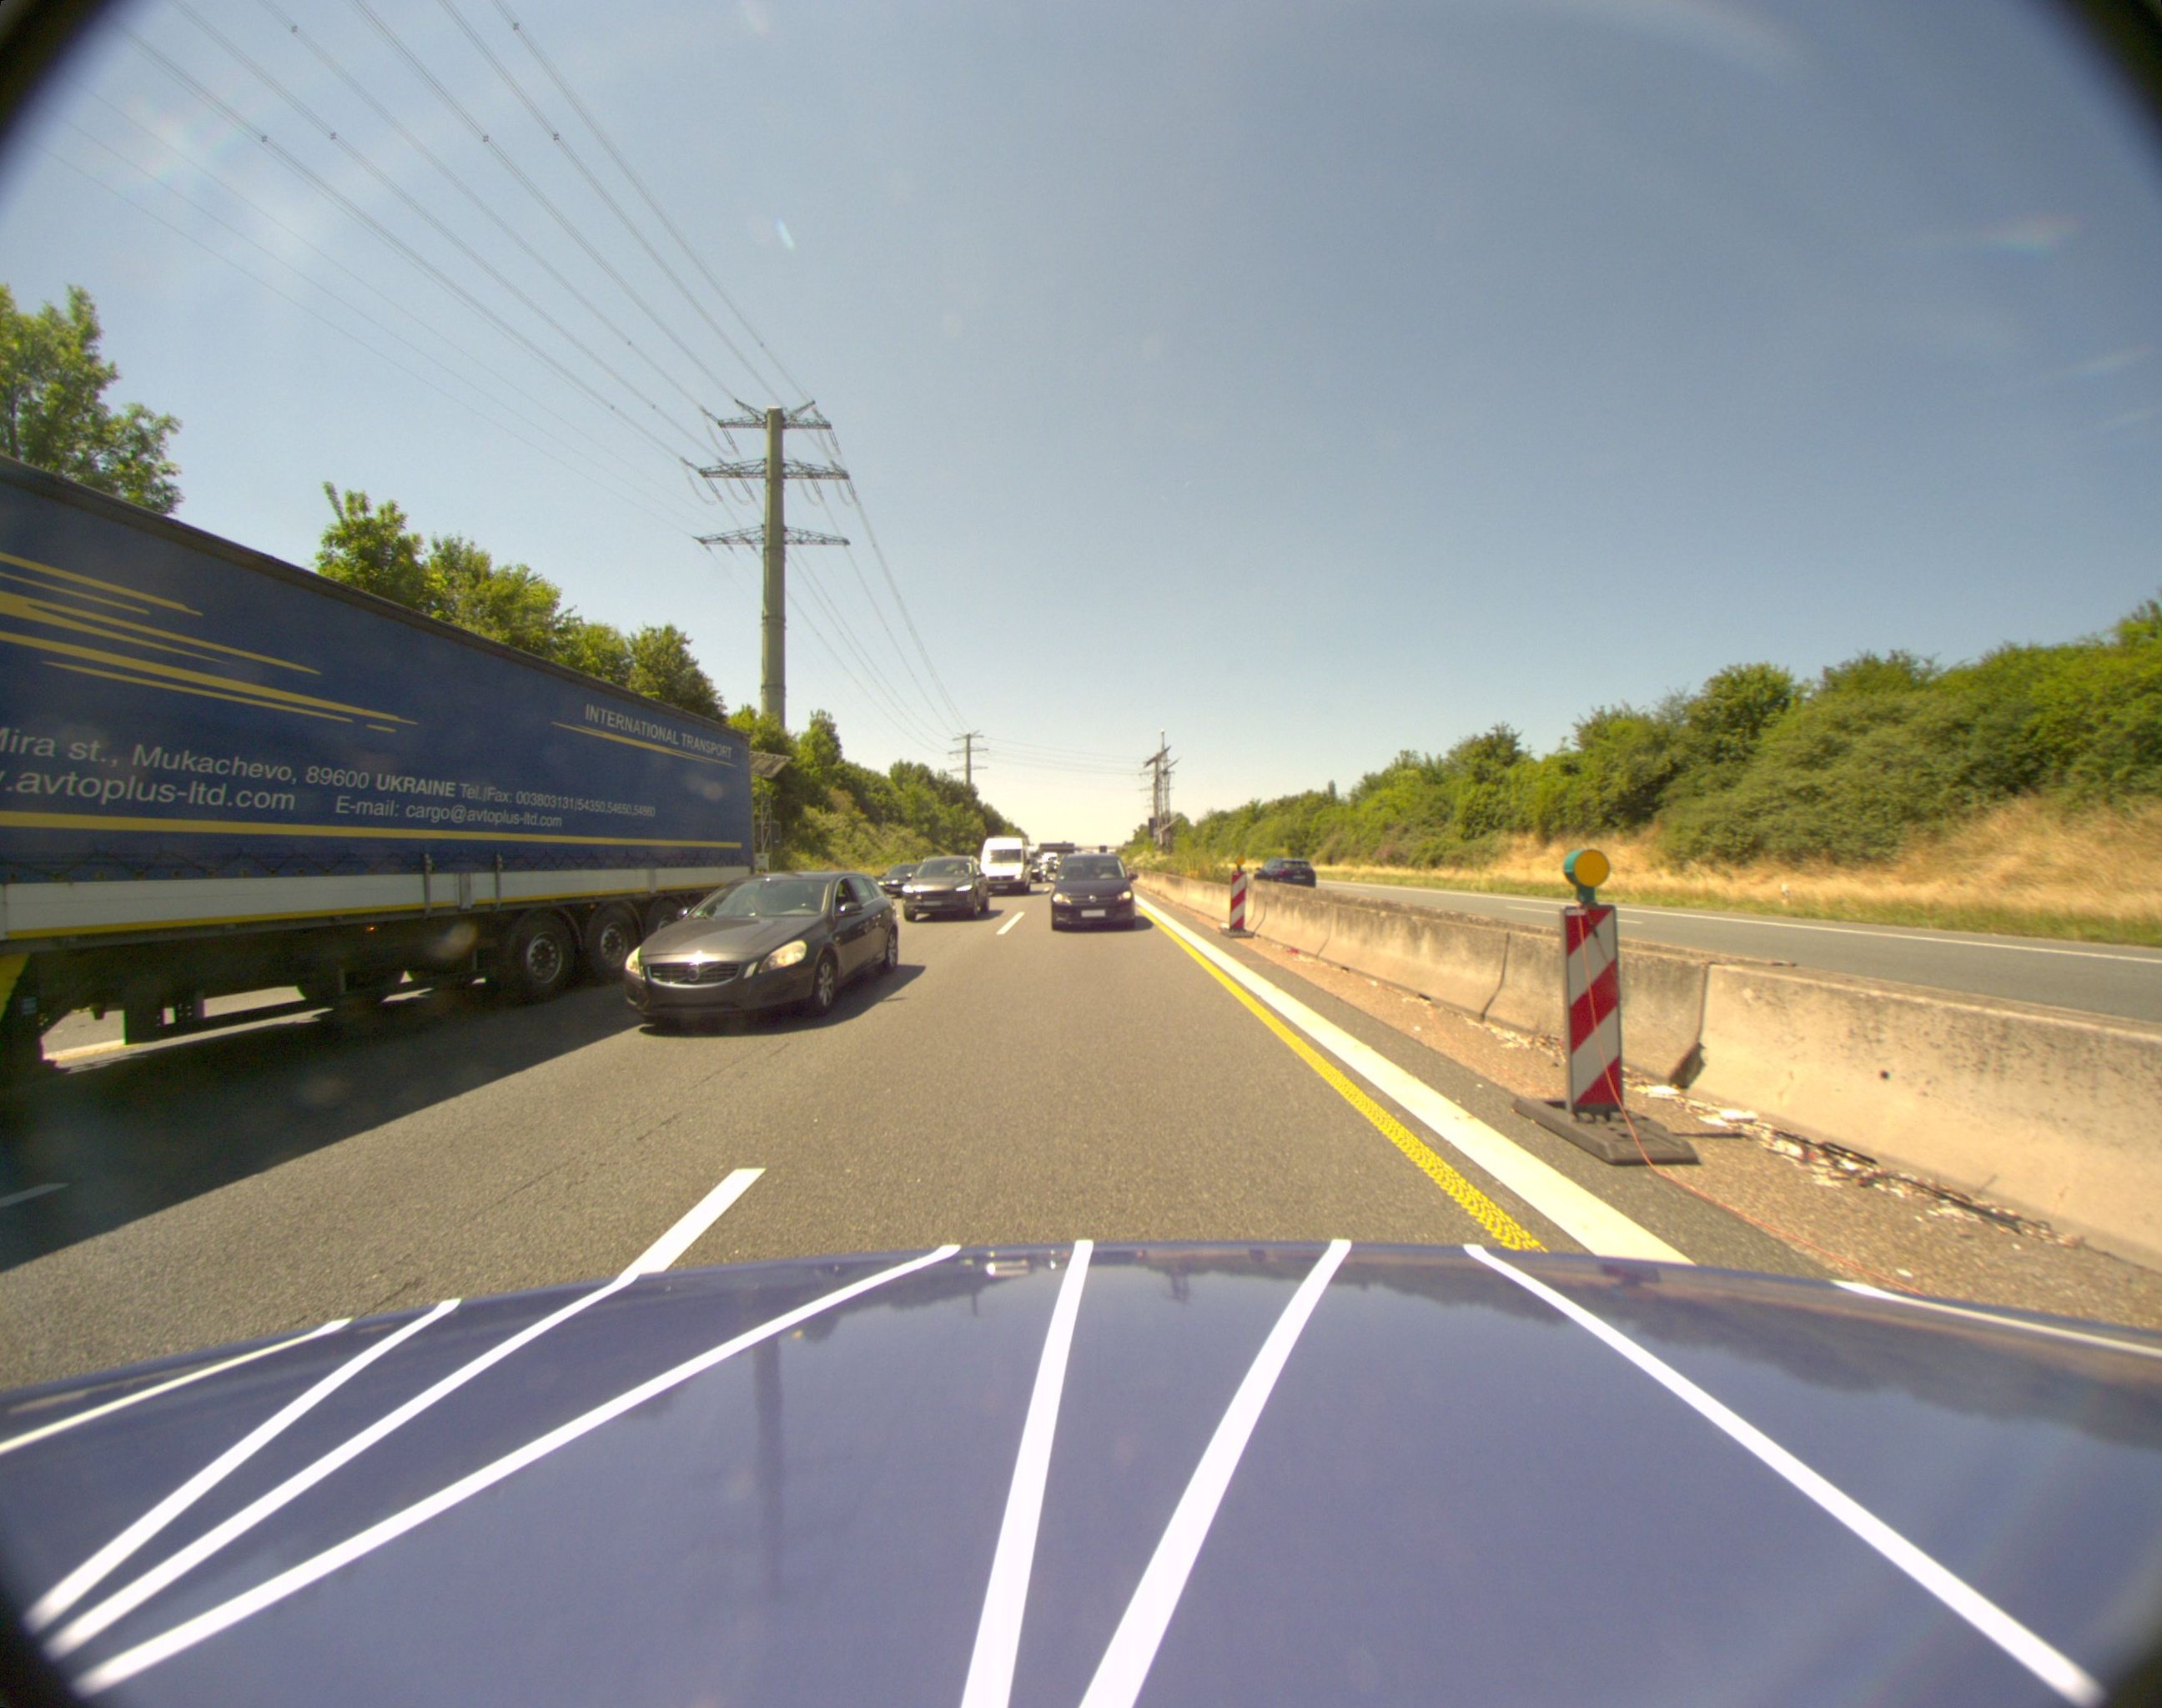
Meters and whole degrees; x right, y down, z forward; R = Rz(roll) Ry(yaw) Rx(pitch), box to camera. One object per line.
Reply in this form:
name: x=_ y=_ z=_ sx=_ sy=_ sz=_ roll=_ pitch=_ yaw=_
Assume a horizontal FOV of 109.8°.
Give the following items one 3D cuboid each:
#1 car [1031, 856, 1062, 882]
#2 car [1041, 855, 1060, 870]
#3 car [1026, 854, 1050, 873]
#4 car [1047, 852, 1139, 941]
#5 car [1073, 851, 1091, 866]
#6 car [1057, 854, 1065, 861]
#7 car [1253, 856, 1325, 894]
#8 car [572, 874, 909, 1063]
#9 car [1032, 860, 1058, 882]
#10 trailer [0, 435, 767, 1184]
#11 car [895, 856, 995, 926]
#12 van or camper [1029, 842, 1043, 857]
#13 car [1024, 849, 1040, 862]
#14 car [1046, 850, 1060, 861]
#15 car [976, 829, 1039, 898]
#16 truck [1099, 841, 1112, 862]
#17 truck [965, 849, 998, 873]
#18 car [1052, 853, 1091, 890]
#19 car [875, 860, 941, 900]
car: x=-2.215 y=0.925 z=49.119 sx=1.720 sy=1.510 sz=3.874 roll=-2 pitch=0 yaw=1
car: x=-3.237 y=0.924 z=81.482 sx=1.720 sy=1.510 sz=3.874 roll=-2 pitch=0 yaw=1
car: x=-3.627 y=0.792 z=64.593 sx=1.720 sy=1.510 sz=3.874 roll=-2 pitch=0 yaw=1
car: x=0.242 y=0.824 z=16.786 sx=1.700 sy=1.641 sz=4.219 roll=-2 pitch=0 yaw=0
car: x=0.106 y=0.528 z=88.999 sx=1.973 sy=1.682 sz=3.874 roll=-2 pitch=0 yaw=1
car: x=-4.773 y=0.841 z=181.656 sx=1.720 sy=1.510 sz=3.874 roll=-2 pitch=0 yaw=1
car: x=8.691 y=0.814 z=32.173 sx=1.867 sy=1.481 sz=4.493 roll=0 pitch=0 yaw=1
car: x=-3.448 y=1.049 z=8.808 sx=1.799 sy=1.411 sz=4.509 roll=-2 pitch=0 yaw=0
car: x=-2.727 y=1.285 z=58.083 sx=1.720 sy=1.510 sz=3.874 roll=-2 pitch=0 yaw=1
trailer: x=-7.475 y=-0.248 z=7.988 sx=2.774 sy=4.239 sz=12.877 roll=-2 pitch=0 yaw=0
car: x=-3.562 y=0.908 z=20.691 sx=1.893 sy=1.602 sz=4.219 roll=-2 pitch=0 yaw=0
van or camper: x=-7.720 y=-0.734 z=129.458 sx=1.978 sy=2.511 sz=4.369 roll=-2 pitch=1 yaw=1
car: x=-6.242 y=0.214 z=97.338 sx=1.720 sy=1.510 sz=3.874 roll=-2 pitch=0 yaw=1
car: x=-4.021 y=0.212 z=109.147 sx=1.720 sy=1.510 sz=3.874 roll=-2 pitch=0 yaw=1
car: x=-3.173 y=0.354 z=34.114 sx=2.042 sy=2.702 sz=6.705 roll=-2 pitch=0 yaw=0
truck: x=4.046 y=-0.456 z=125.051 sx=1.892 sy=3.263 sz=5.590 roll=-2 pitch=1 yaw=1
truck: x=-9.539 y=0.637 z=73.447 sx=2.253 sy=2.155 sz=5.728 roll=-2 pitch=0 yaw=1
car: x=-0.435 y=0.799 z=37.108 sx=1.700 sy=1.641 sz=4.219 roll=-2 pitch=0 yaw=0
car: x=-7.600 y=1.105 z=33.861 sx=1.795 sy=1.503 sz=4.853 roll=-2 pitch=0 yaw=0
